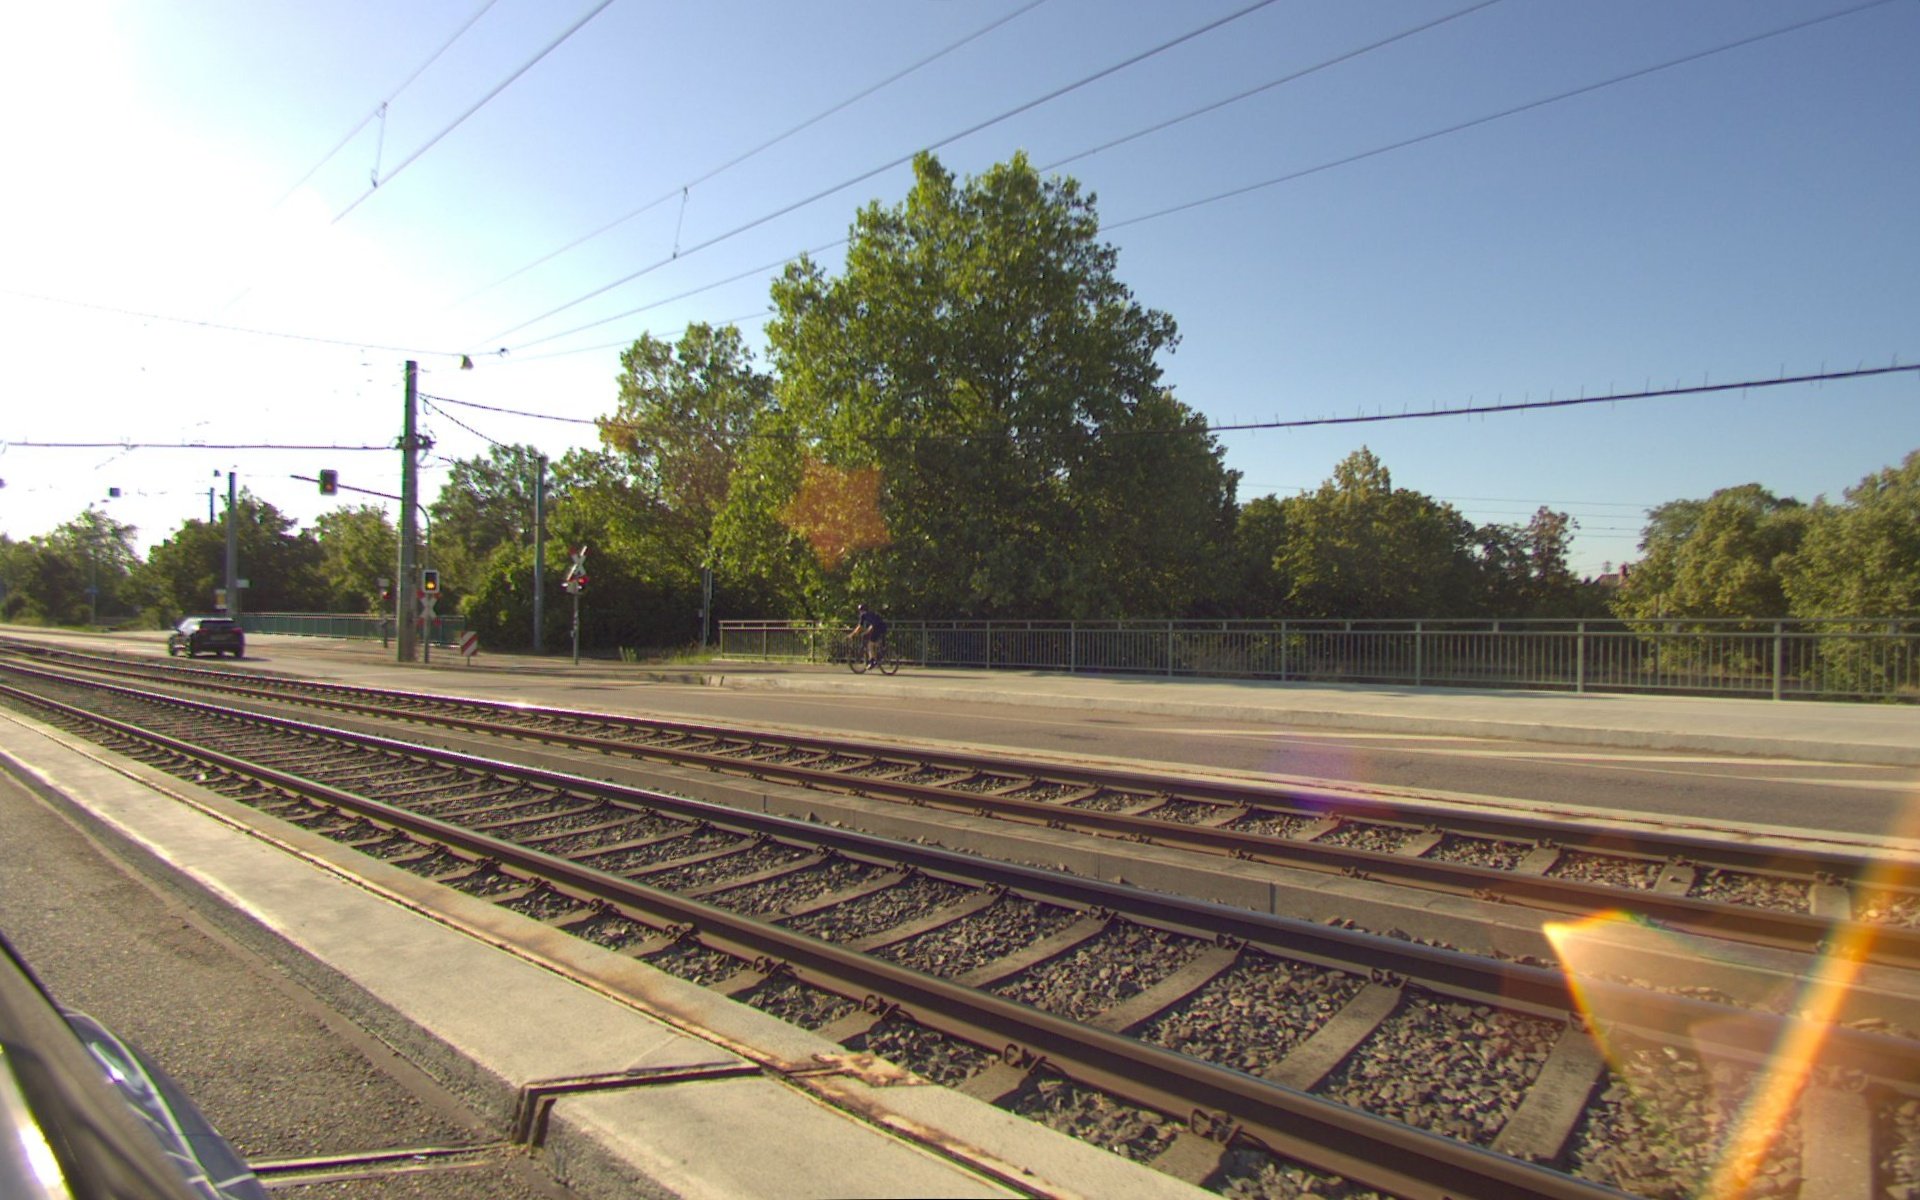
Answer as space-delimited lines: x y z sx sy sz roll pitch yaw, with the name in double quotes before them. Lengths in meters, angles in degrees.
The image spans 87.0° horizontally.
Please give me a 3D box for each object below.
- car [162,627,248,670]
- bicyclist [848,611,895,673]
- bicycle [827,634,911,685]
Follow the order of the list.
"car" -29.336 1.843 39.275 4.217 1.513 1.829 -1 -1 41
"bicyclist" -2.114 0.978 24.088 0.968 1.443 0.618 -1 -1 41
"bicycle" -2.201 1.399 24.166 2.258 1.131 0.618 -1 0 41
